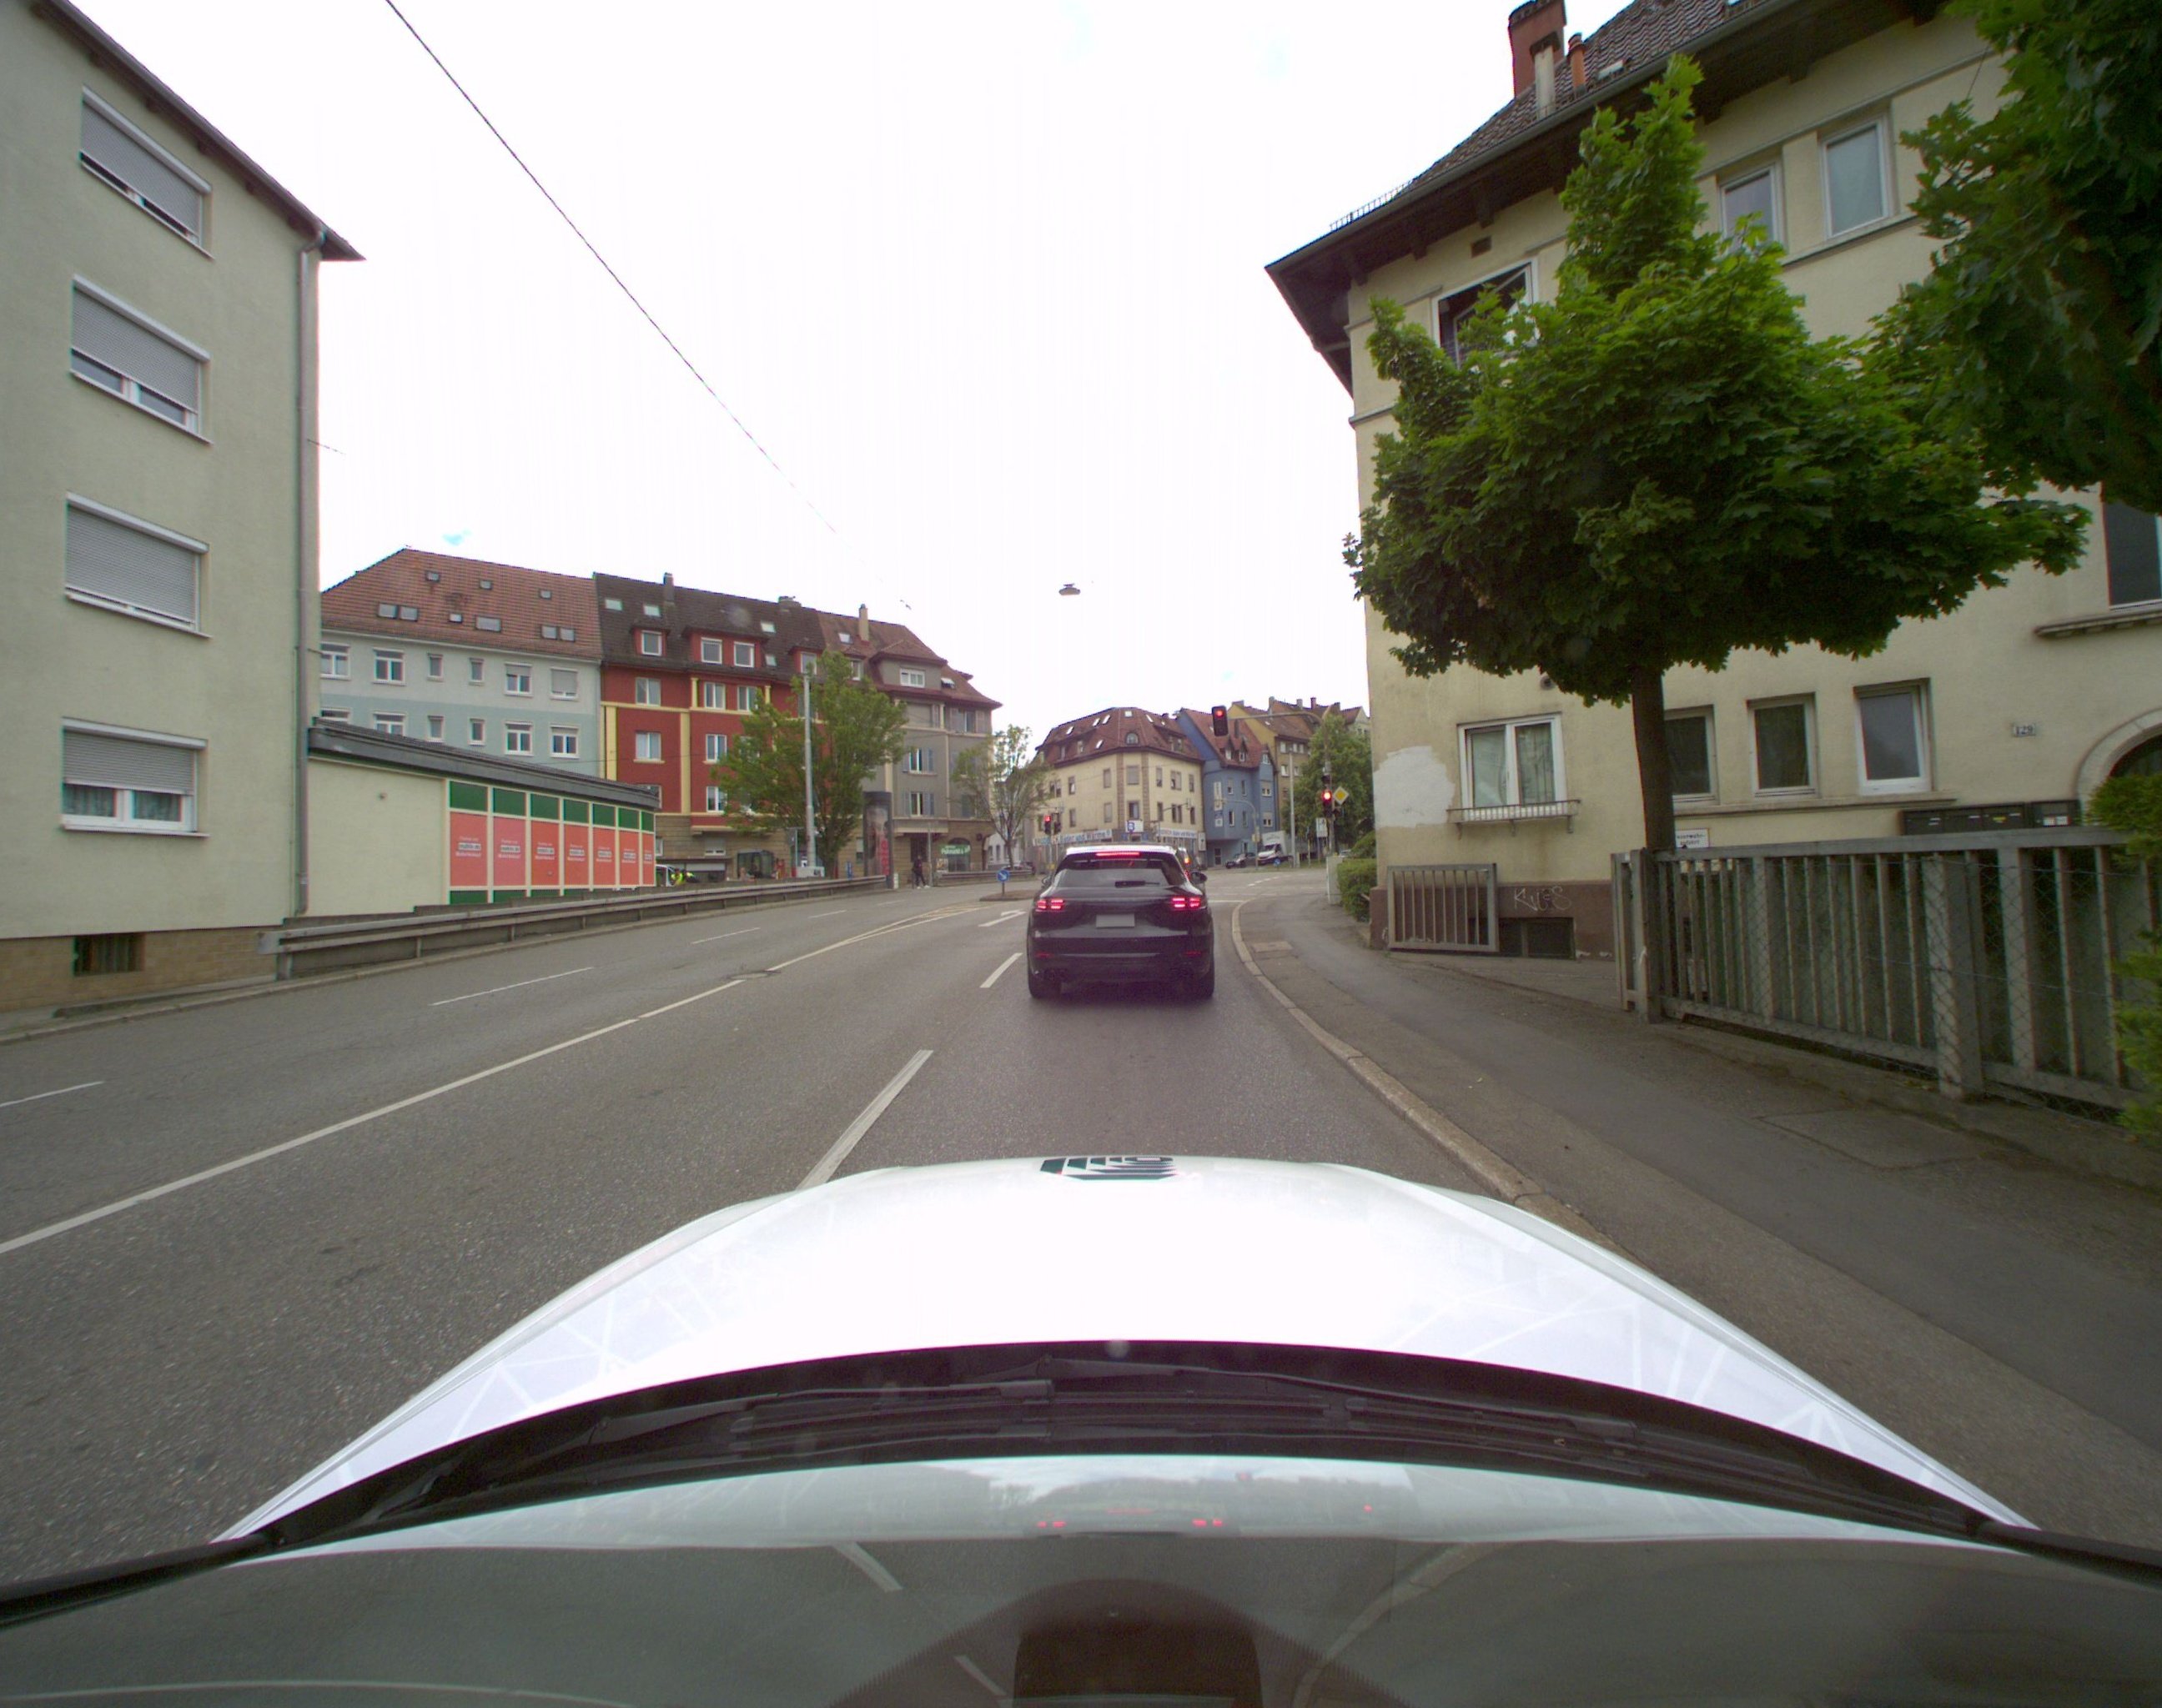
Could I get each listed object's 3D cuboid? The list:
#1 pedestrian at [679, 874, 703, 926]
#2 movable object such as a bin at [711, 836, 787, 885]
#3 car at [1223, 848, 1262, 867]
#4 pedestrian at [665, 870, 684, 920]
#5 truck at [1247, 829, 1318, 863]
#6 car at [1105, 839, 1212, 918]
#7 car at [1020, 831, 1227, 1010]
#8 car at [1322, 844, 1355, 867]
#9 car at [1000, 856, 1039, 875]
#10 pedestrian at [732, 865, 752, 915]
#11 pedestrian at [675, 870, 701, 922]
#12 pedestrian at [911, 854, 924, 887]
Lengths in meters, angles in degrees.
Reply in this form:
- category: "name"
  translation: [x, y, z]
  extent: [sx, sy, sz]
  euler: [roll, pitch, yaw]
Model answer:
- category: "pedestrian"
  translation: [-13.037, 1.539, 27.202]
  extent: [0.562, 1.700, 0.542]
  euler: [1, -1, -8]
- category: "movable object such as a bin"
  translation: [-12.757, 0.257, 31.539]
  extent: [1.902, 1.771, 3.986]
  euler: [1, 0, -10]
- category: "car"
  translation: [15.181, 0.306, 76.404]
  extent: [1.974, 1.684, 4.025]
  euler: [-2, -1, 38]
- category: "pedestrian"
  translation: [-14.522, 1.460, 29.100]
  extent: [0.479, 1.730, 0.537]
  euler: [1, -1, -43]
- category: "truck"
  translation: [20.684, -0.797, 83.239]
  extent: [2.847, 3.340, 8.845]
  euler: [0, 0, 45]
- category: "car"
  translation: [1.976, 0.538, 19.643]
  extent: [1.979, 1.684, 4.015]
  euler: [-2, 0, 13]
- category: "car"
  translation: [0.424, 0.622, 9.902]
  extent: [1.972, 1.684, 4.000]
  euler: [-1, 0, 0]
- category: "car"
  translation: [19.803, 0.126, 62.763]
  extent: [1.980, 1.684, 4.013]
  euler: [-2, 0, 12]
- category: "car"
  translation: [-5.868, 1.095, 77.157]
  extent: [2.007, 1.684, 3.958]
  euler: [0, -1, -33]
- category: "pedestrian"
  translation: [-11.899, 1.259, 28.545]
  extent: [0.545, 1.730, 0.587]
  euler: [1, -1, -31]
- category: "pedestrian"
  translation: [-13.717, 1.450, 28.443]
  extent: [0.565, 1.761, 0.622]
  euler: [0, -1, 38]
- category: "pedestrian"
  translation: [-8.611, 0.887, 42.923]
  extent: [0.511, 1.730, 0.451]
  euler: [0, -1, 5]
